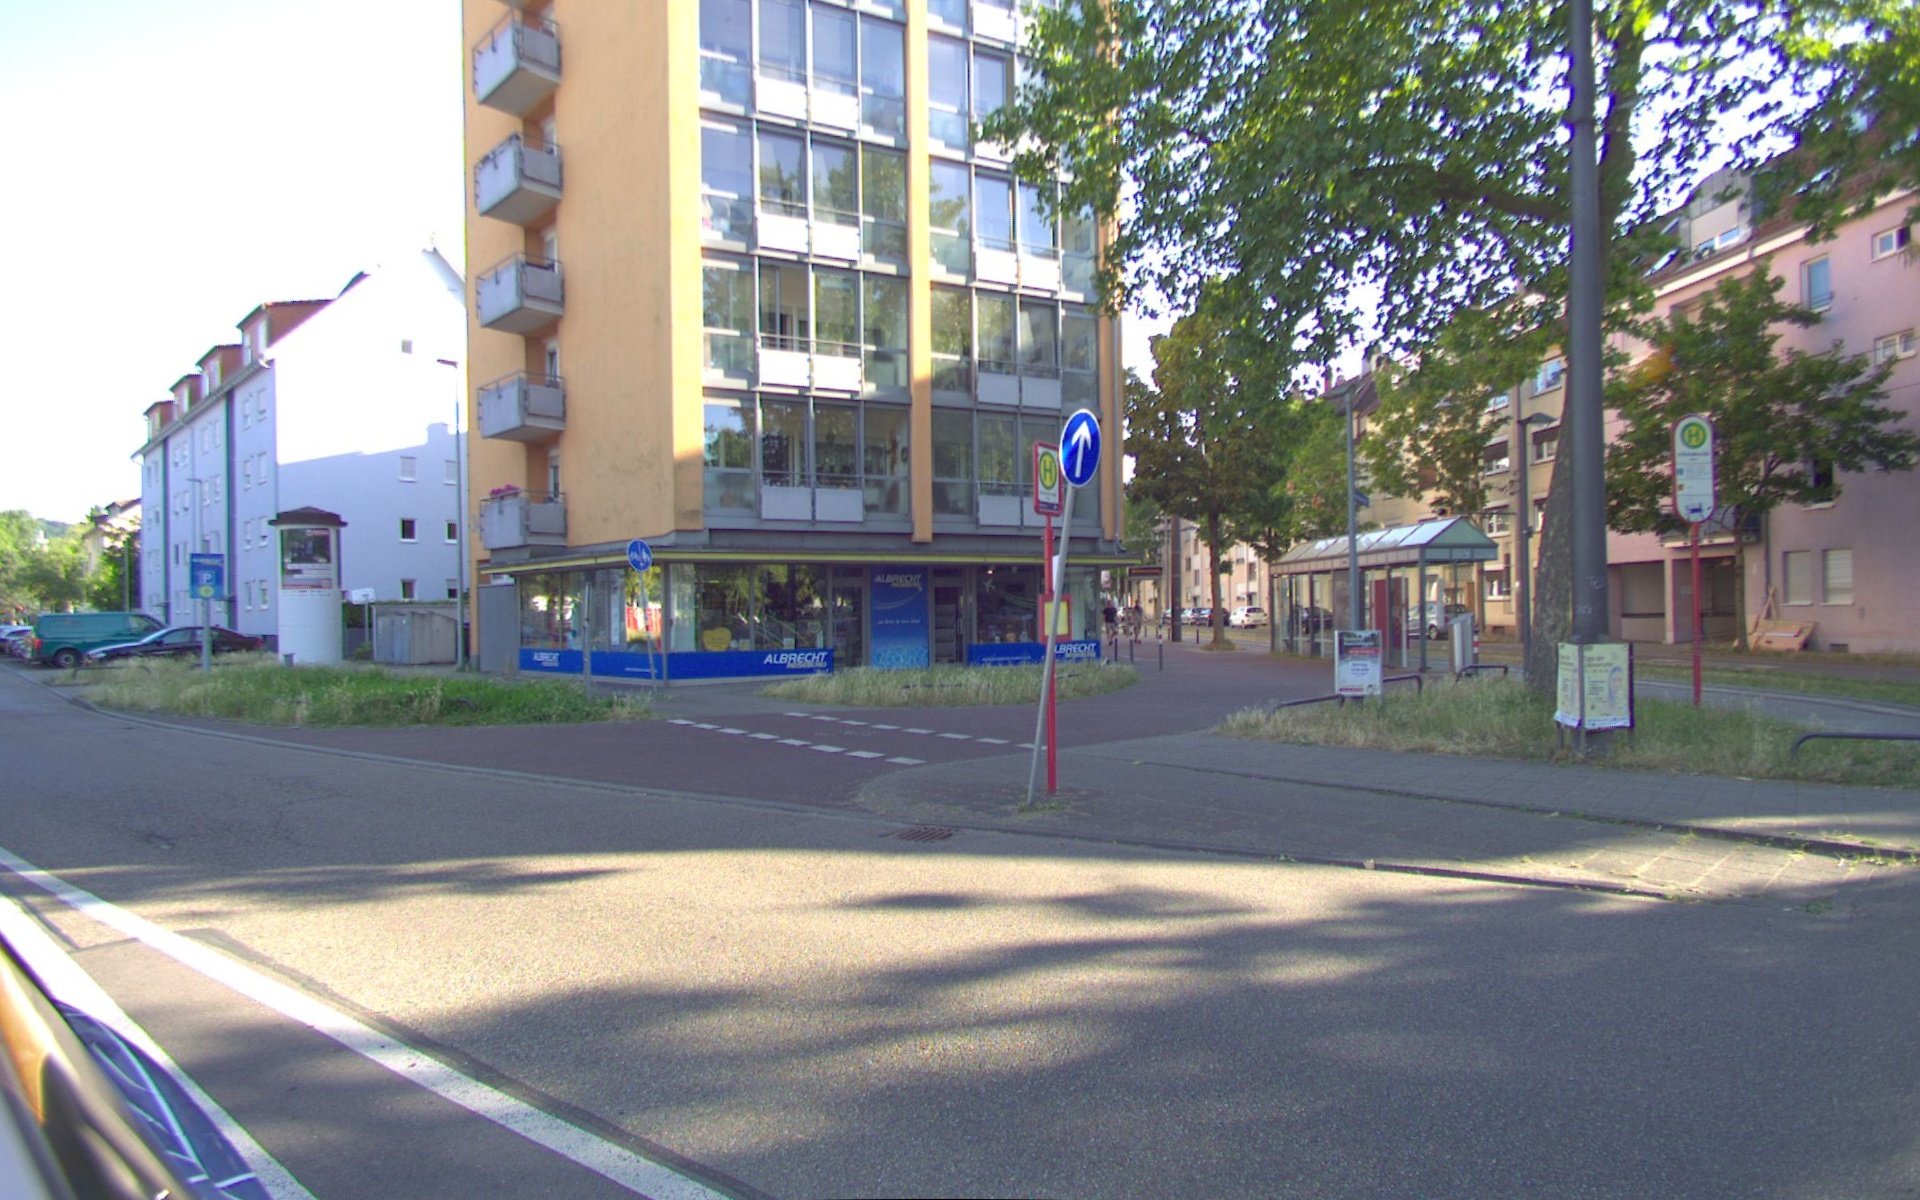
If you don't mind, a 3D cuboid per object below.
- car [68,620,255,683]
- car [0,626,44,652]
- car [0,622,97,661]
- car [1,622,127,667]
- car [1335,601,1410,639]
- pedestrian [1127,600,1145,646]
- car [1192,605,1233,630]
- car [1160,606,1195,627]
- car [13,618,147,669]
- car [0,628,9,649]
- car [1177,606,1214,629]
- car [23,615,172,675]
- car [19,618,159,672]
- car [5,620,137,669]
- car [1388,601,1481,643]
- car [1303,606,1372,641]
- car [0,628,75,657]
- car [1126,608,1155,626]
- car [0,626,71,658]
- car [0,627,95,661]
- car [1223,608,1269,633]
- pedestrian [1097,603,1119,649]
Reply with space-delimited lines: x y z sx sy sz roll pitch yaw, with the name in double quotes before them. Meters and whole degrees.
"car" -24.274 1.514 30.866 4.361 1.674 2.003 -1 0 -41
"car" -63.499 2.613 66.993 4.199 1.585 1.867 -1 0 -44
"car" -46.120 2.045 50.866 4.061 1.785 1.758 -1 0 -44
"car" -38.830 1.871 43.930 4.016 1.765 1.900 -1 0 -44
"car" 19.903 0.919 48.990 1.911 1.719 3.827 -1 0 -3
"pedestrian" 6.813 0.878 39.243 0.622 1.763 0.689 -1 0 6
"car" 18.700 1.269 75.160 1.808 1.719 4.059 -1 0 -3
"car" 18.426 1.396 85.803 1.830 1.719 4.170 -1 0 -3
"car" -35.123 1.680 40.434 3.941 1.829 2.001 -1 0 -44
"car" -74.763 2.998 76.962 3.490 1.585 1.867 -1 0 -44
"car" 18.638 1.354 80.349 1.771 1.719 4.170 -1 0 -3
"car" -31.217 1.563 36.689 2.001 1.962 3.942 -1 0 44
"car" -33.123 1.654 38.532 3.941 1.829 2.001 -1 0 -44
"car" -36.861 1.813 42.012 4.003 1.829 1.938 -1 0 -44
"car" 20.743 0.909 44.435 1.911 1.719 4.115 -1 0 -3
"car" 19.913 1.204 53.603 1.911 1.719 4.115 -1 0 -3
"car" -55.663 2.510 60.381 4.199 1.585 1.867 -1 0 -44
"car" 17.779 1.640 99.876 1.911 1.719 4.003 -1 0 -3
"car" -55.796 2.481 60.435 4.016 1.765 1.900 -1 0 -44
"car" -48.123 2.282 52.957 4.199 1.585 1.867 -1 0 -44
"car" 19.168 1.348 68.055 1.741 1.588 4.049 -1 0 -3
"pedestrian" 5.771 1.016 39.461 0.803 1.763 0.538 -1 0 6
